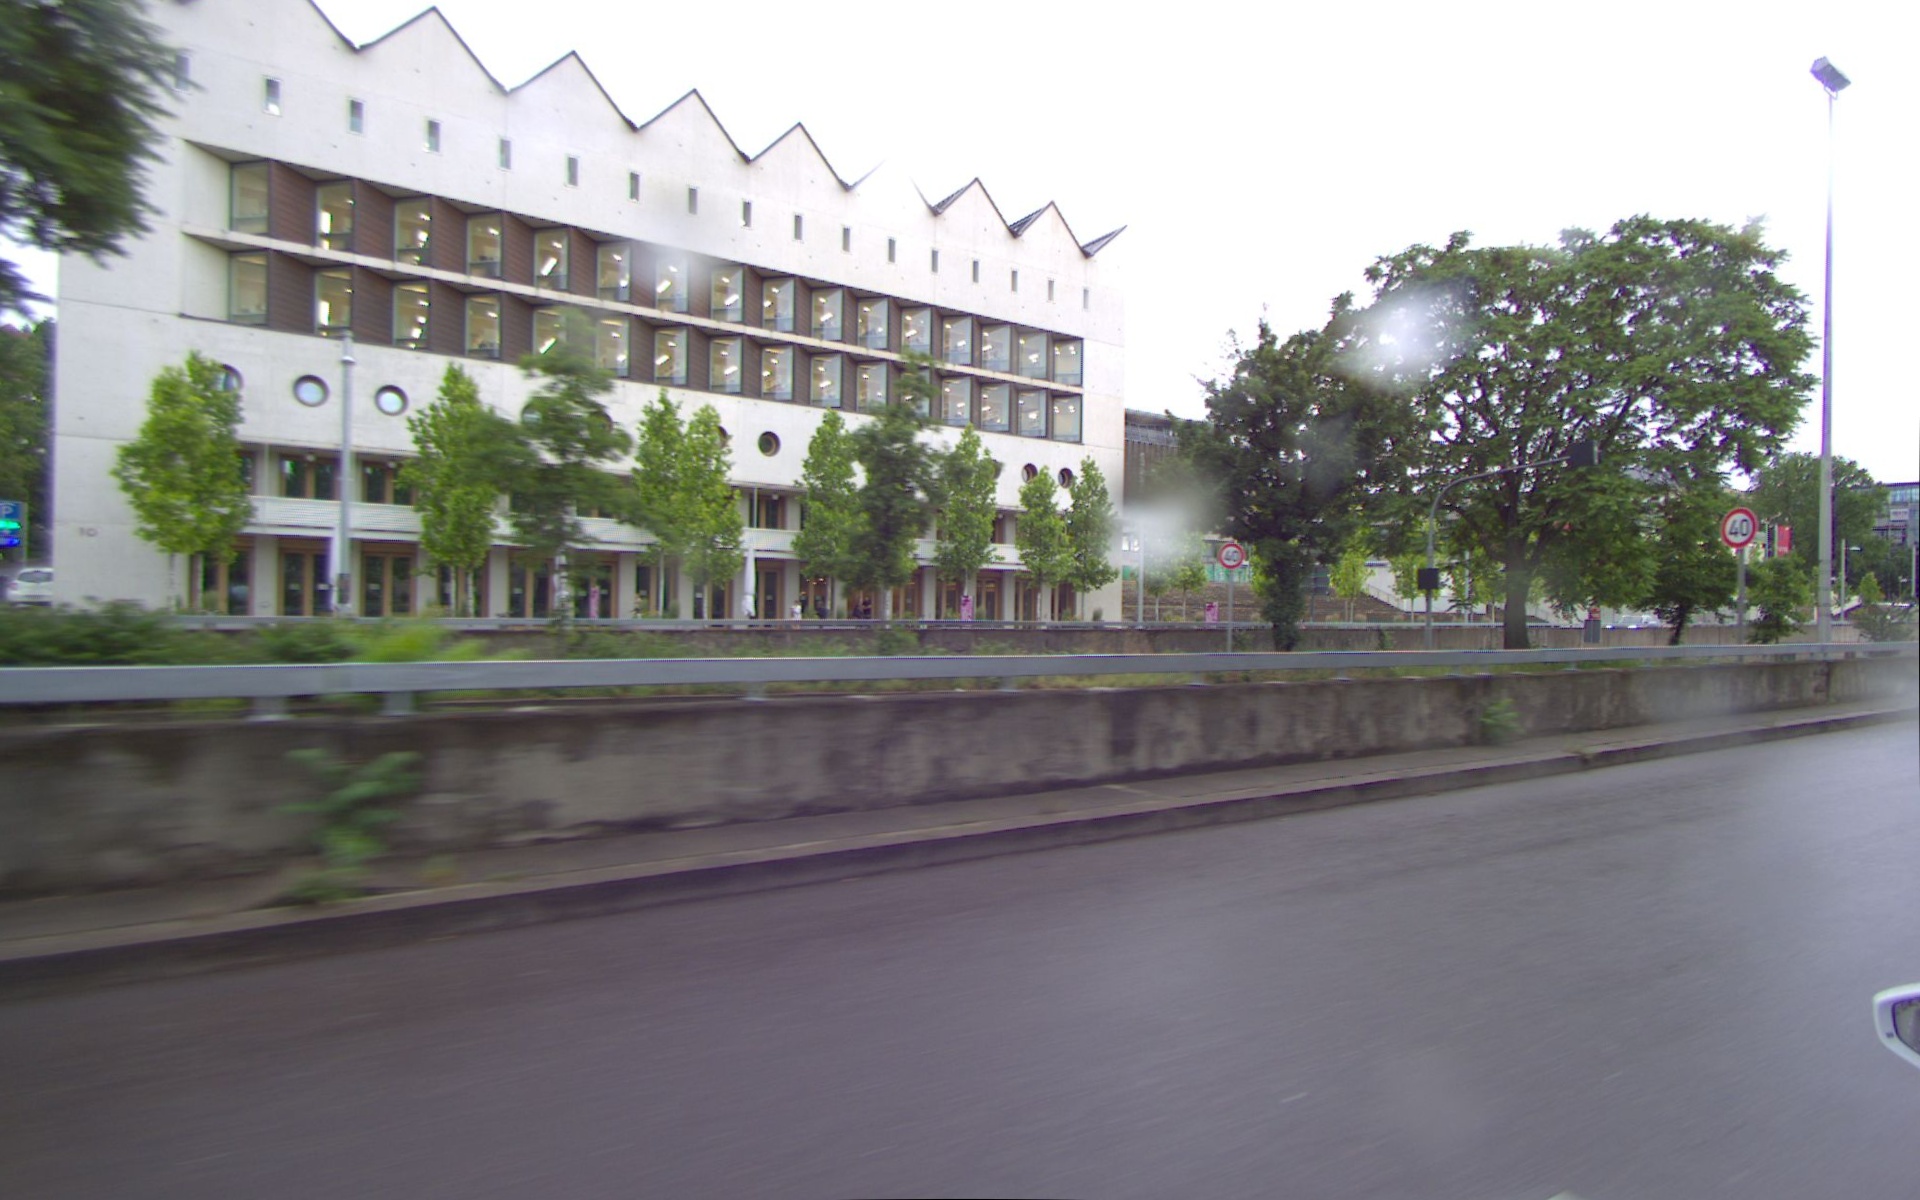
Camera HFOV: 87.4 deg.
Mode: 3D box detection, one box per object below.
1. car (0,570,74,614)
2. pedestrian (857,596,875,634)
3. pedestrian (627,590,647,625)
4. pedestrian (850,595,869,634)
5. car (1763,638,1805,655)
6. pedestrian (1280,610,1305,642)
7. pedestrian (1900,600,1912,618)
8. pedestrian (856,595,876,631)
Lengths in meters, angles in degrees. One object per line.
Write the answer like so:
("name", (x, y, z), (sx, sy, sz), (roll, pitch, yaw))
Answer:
("car", (-36.969, -0.346, 40.117), (1.741, 1.633, 3.502), (2, 0, -31))
("pedestrian", (-4.736, 0.741, 50.574), (0.687, 1.883, 0.741), (2, 1, 10))
("pedestrian", (-14.297, 0.335, 44.455), (0.644, 1.535, 0.674), (1, 1, -34))
("pedestrian", (-4.975, 0.730, 49.736), (0.687, 1.883, 0.741), (2, 1, 10))
("car", (58.946, 3.332, 71.847), (3.019, 1.144, 1.478), (2, 0, -34))
("pedestrian", (20.419, 1.598, 61.687), (0.821, 1.891, 1.078), (1, 1, -34))
("pedestrian", (111.685, 1.044, 118.584), (0.754, 2.120, 0.726), (-3, 4, 8))
("pedestrian", (-4.991, 0.698, 53.421), (0.730, 1.883, 0.698), (2, 1, 43))
